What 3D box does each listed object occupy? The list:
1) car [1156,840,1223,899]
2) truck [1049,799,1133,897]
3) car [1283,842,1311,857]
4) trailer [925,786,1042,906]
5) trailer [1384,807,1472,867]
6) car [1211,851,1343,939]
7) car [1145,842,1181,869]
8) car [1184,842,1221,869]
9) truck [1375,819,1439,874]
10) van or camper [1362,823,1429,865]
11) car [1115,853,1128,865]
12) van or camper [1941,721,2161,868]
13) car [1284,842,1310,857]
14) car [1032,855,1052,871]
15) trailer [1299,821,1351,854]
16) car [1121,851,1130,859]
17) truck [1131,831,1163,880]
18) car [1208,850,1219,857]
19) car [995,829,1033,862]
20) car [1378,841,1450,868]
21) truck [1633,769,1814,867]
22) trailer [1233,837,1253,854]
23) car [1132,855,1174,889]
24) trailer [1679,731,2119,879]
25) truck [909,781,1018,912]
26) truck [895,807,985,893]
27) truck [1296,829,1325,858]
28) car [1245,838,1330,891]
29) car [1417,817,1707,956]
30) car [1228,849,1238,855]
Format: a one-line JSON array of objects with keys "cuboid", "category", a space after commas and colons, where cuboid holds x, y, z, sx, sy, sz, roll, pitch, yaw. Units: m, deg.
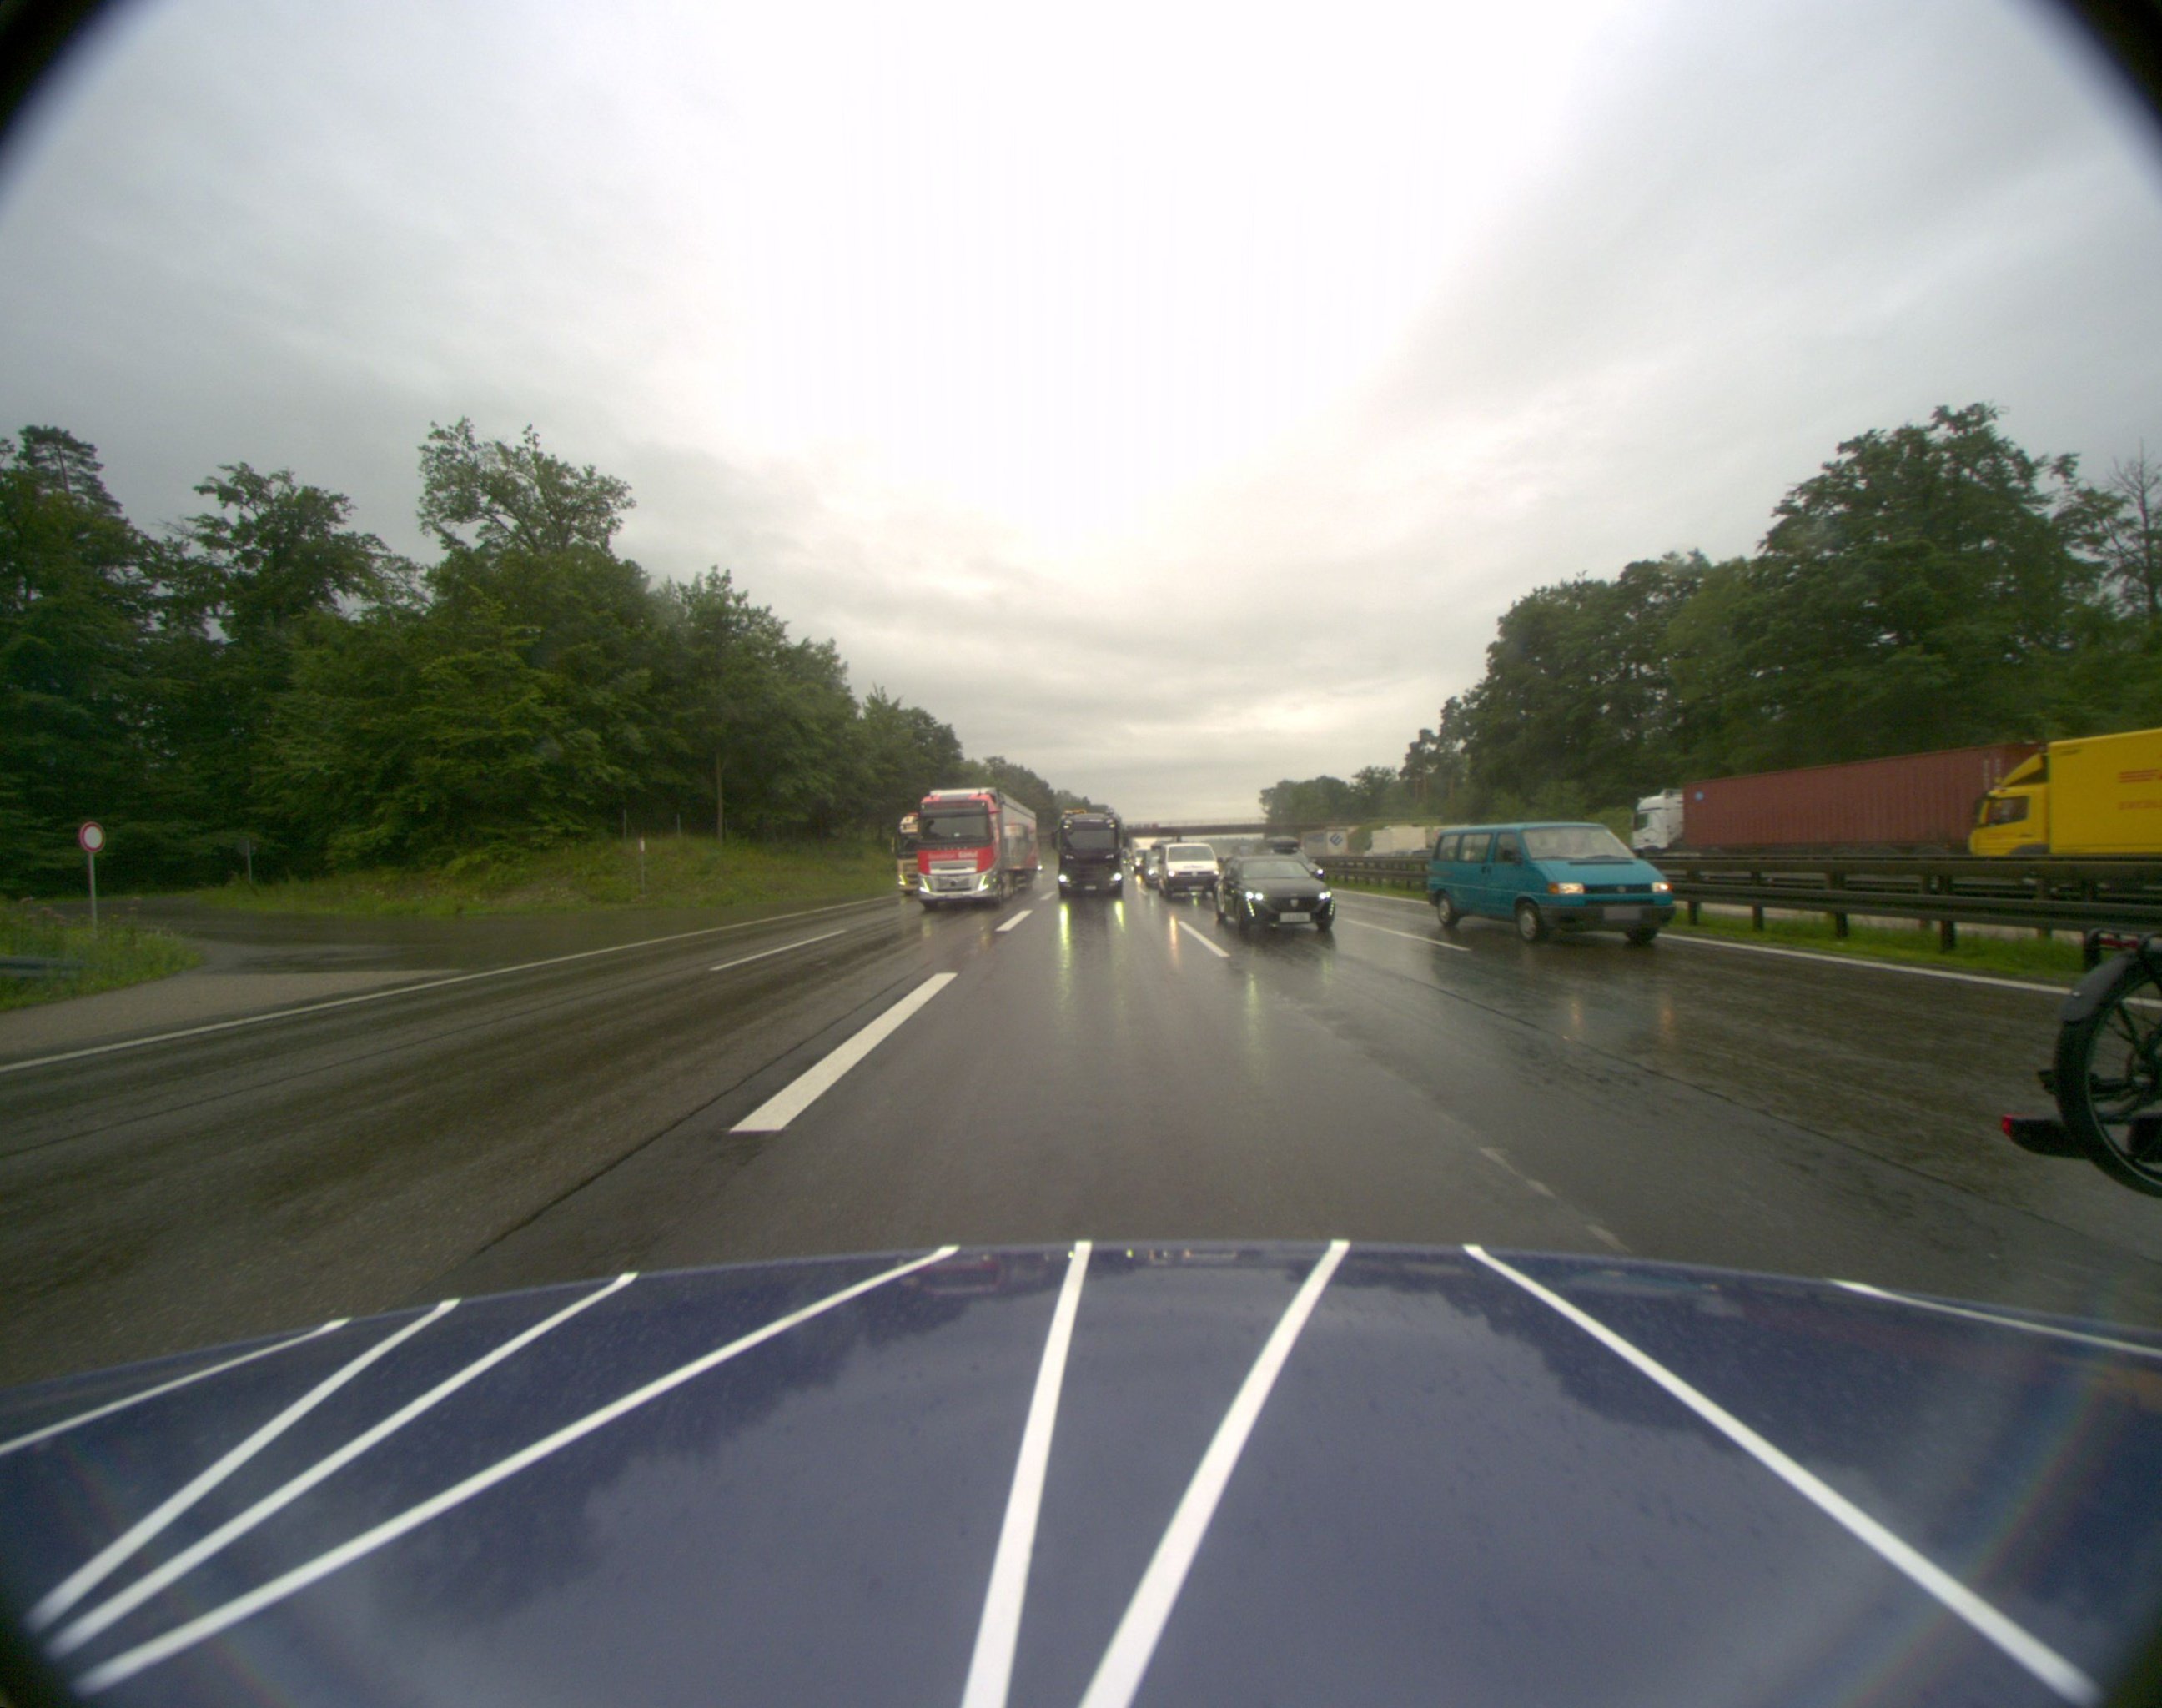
[{"cuboid": [3.837, 0.519, 27.572, 1.994, 1.869, 4.768, -2, 0, 4], "category": "car"}, {"cuboid": [0.729, -0.284, 33.414, 2.878, 3.528, 10.913, -2, 1, 4], "category": "truck"}, {"cuboid": [27.160, -0.584, 95.792, 1.982, 1.814, 5.222, -2, 0, 1], "category": "car"}, {"cuboid": [-3.636, -0.323, 32.749, 2.608, 3.934, 14.582, -2, 0, 2], "category": "trailer"}, {"cuboid": [24.962, -1.164, 55.245, 2.383, 3.931, 9.423, -1, 0, 3], "category": "trailer"}, {"cuboid": [3.881, 0.736, 15.806, 1.850, 1.496, 4.467, -1, 1, 4], "category": "car"}, {"cuboid": [5.114, 0.108, 48.019, 1.994, 1.551, 4.768, -2, 0, 3], "category": "car"}, {"cuboid": [8.879, 0.107, 55.876, 1.982, 1.814, 4.606, -2, 0, 1], "category": "car"}, {"cuboid": [25.142, -0.571, 58.964, 2.383, 3.931, 6.537, -1, 1, 3], "category": "truck"}, {"cuboid": [20.430, -0.630, 49.685, 2.203, 2.532, 6.121, -1, 0, 4], "category": "van or camper"}, {"cuboid": [6.728, 0.836, 127.172, 1.998, 2.002, 4.000, -2, 0, 2], "category": "car"}, {"cuboid": [23.240, -1.243, 14.957, 2.849, 2.961, 8.787, -2, 0, 2], "category": "van or camper"}, {"cuboid": [27.201, -0.529, 95.867, 1.998, 1.759, 5.039, -1, 0, 1], "category": "car"}, {"cuboid": [-4.367, 0.978, 85.309, 1.864, 1.554, 4.406, -2, 0, 1], "category": "car"}, {"cuboid": [31.295, -1.986, 98.136, 2.726, 3.931, 13.962, -1, 0, 3], "category": "trailer"}, {"cuboid": [9.515, 0.190, 163.175, 1.864, 1.554, 4.436, -2, 0, 2], "category": "car"}, {"cuboid": [5.711, 0.135, 66.426, 2.520, 3.941, 6.996, -2, 0, 4], "category": "truck"}, {"cuboid": [30.757, -0.109, 176.750, 1.998, 1.498, 4.708, -1, 0, 3], "category": "car"}, {"cuboid": [-4.350, -0.561, 50.106, 1.998, 2.002, 4.000, -2, 0, 1], "category": "car"}, {"cuboid": [16.230, 0.015, 37.276, 1.701, 1.212, 4.208, -2, 0, 1], "category": "car"}, {"cuboid": [27.859, -1.444, 33.381, 2.710, 3.795, 6.265, -2, 0, 2], "category": "truck"}, {"cuboid": [39.425, -2.068, 185.514, 3.031, 3.795, 13.566, -2, 0, 6], "category": "trailer"}, {"cuboid": [3.474, 0.829, 37.182, 1.850, 1.496, 4.467, -2, 0, 4], "category": "car"}, {"cuboid": [27.660, -1.398, 27.343, 2.625, 4.002, 12.373, -2, 0, 1], "category": "trailer"}, {"cuboid": [-3.840, -0.248, 26.090, 2.608, 3.934, 5.600, -2, 1, 1], "category": "truck"}, {"cuboid": [-7.231, -0.213, 40.548, 2.608, 3.934, 9.939, -2, 0, 1], "category": "truck"}, {"cuboid": [31.643, -1.436, 104.722, 2.710, 3.931, 4.891, -1, 1, 3], "category": "truck"}, {"cuboid": [7.781, 0.361, 29.084, 1.982, 1.814, 4.606, -2, 0, 1], "category": "car"}, {"cuboid": [7.699, 0.433, 12.874, 1.915, 1.852, 4.759, -2, 0, 1], "category": "car"}, {"cuboid": [33.343, -0.459, 166.575, 1.705, 1.297, 3.757, -2, 0, 4], "category": "car"}]
